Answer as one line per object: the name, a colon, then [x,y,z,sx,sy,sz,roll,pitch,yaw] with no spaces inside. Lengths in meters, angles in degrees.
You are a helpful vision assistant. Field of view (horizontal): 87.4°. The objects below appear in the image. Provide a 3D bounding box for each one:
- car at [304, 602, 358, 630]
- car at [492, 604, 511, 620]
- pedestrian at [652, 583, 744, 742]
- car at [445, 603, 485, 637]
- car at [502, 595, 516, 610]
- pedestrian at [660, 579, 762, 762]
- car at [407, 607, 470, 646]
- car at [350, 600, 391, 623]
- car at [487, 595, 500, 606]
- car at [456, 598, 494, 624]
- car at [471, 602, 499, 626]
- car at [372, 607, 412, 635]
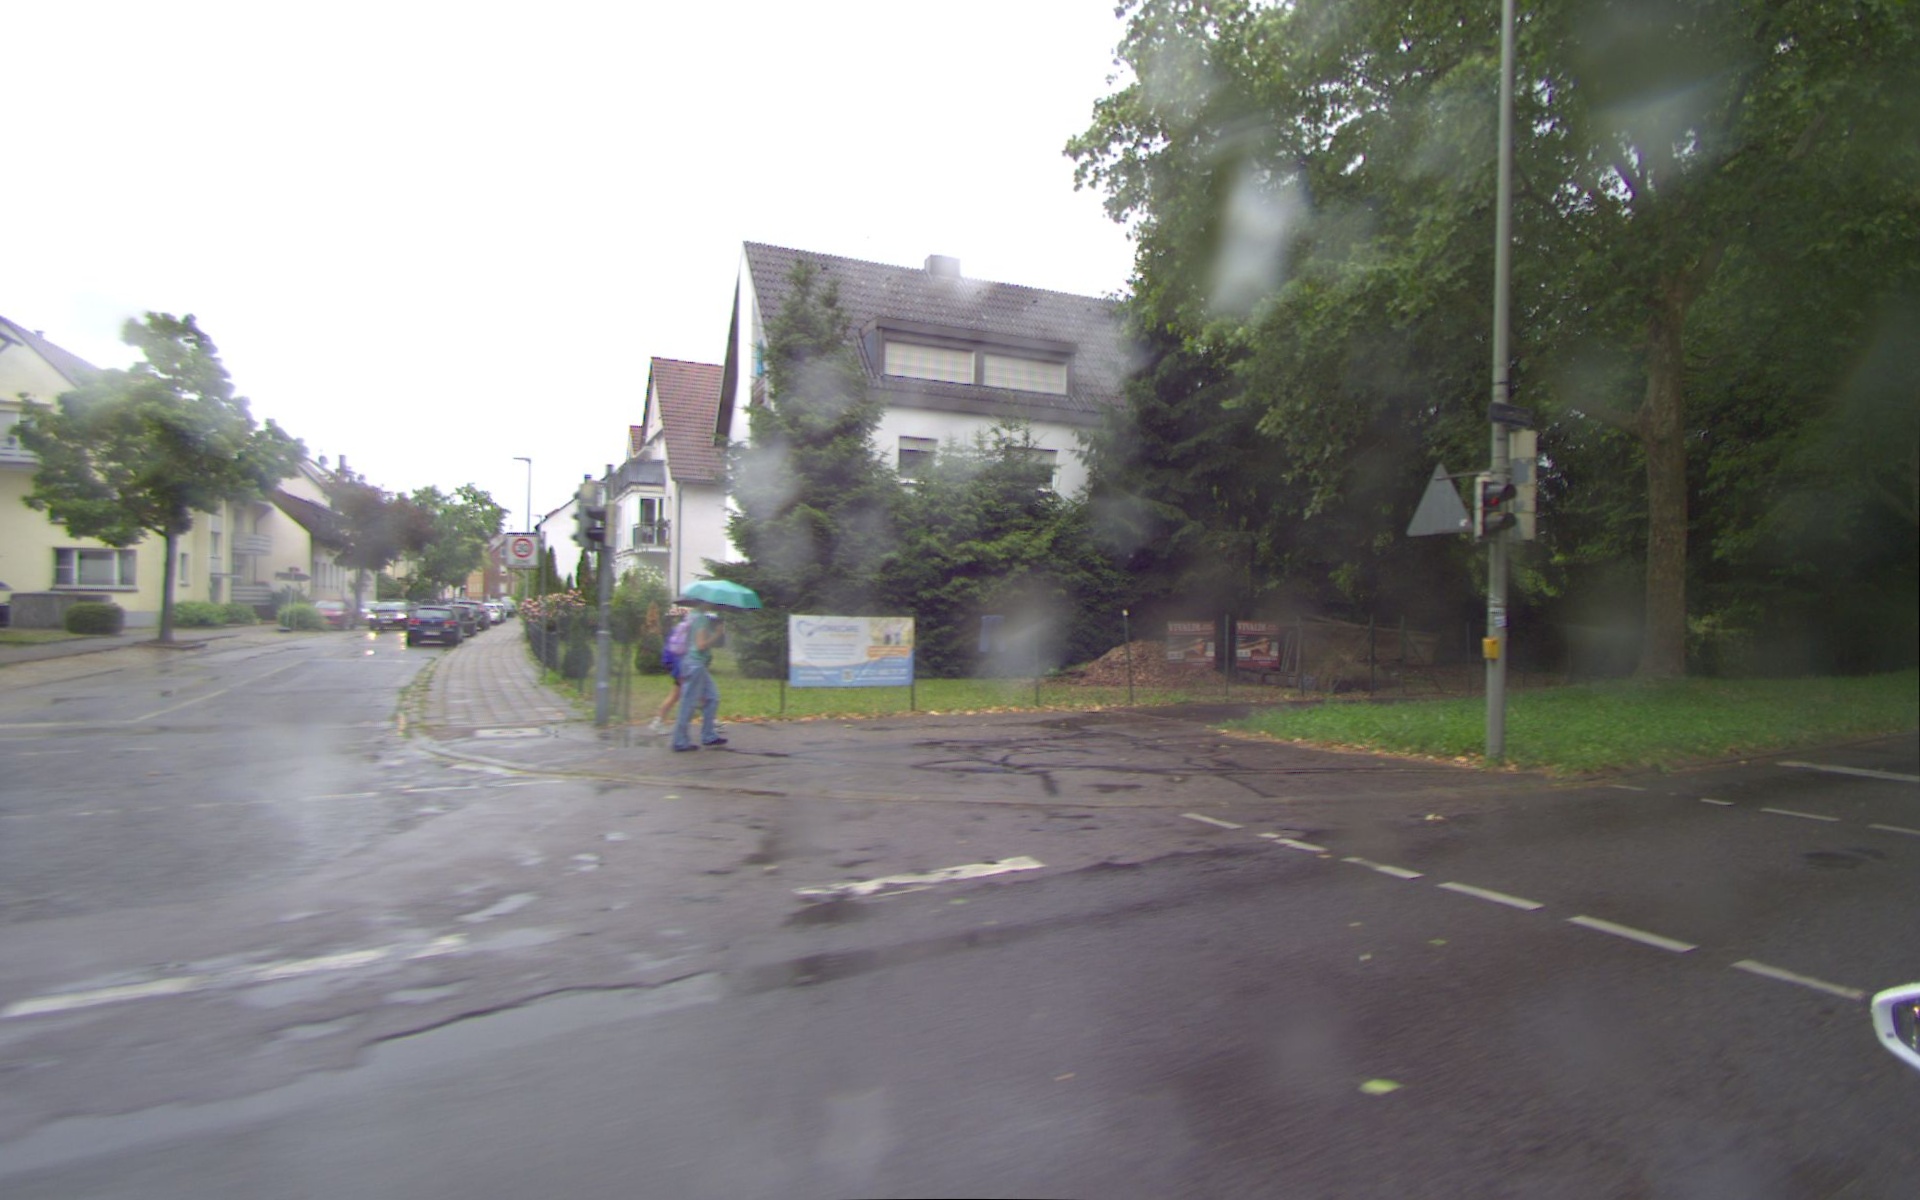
car: [-32.583,0.815,52.141,1.668,1.391,3.714,1,0,-21]
car: [-43.127,1.098,94.475,1.485,1.419,3.314,1,-1,-23]
pedestrian: [-3.136,0.718,11.971,0.868,1.789,1.029,1,-1,-27]
car: [-23.137,0.895,47.035,1.514,1.536,3.432,0,0,-24]
car: [-47.347,0.274,105.547,1.268,1.434,2.963,1,-1,-23]
pedestrian: [-2.626,0.704,10.524,0.827,1.789,1.029,1,-1,-27]
car: [-19.820,0.984,38.298,1.668,1.391,3.701,1,0,-21]
car: [-38.022,0.744,64.821,1.668,1.391,3.714,1,0,-21]
car: [-75.559,0.081,162.683,1.859,1.606,3.972,1,0,-27]
car: [-27.034,0.581,56.108,1.576,1.391,3.714,1,0,-21]
car: [-33.005,0.949,69.867,1.604,1.574,3.514,1,-1,-24]
car: [-30.739,1.126,54.399,1.506,1.391,3.710,1,0,-24]
